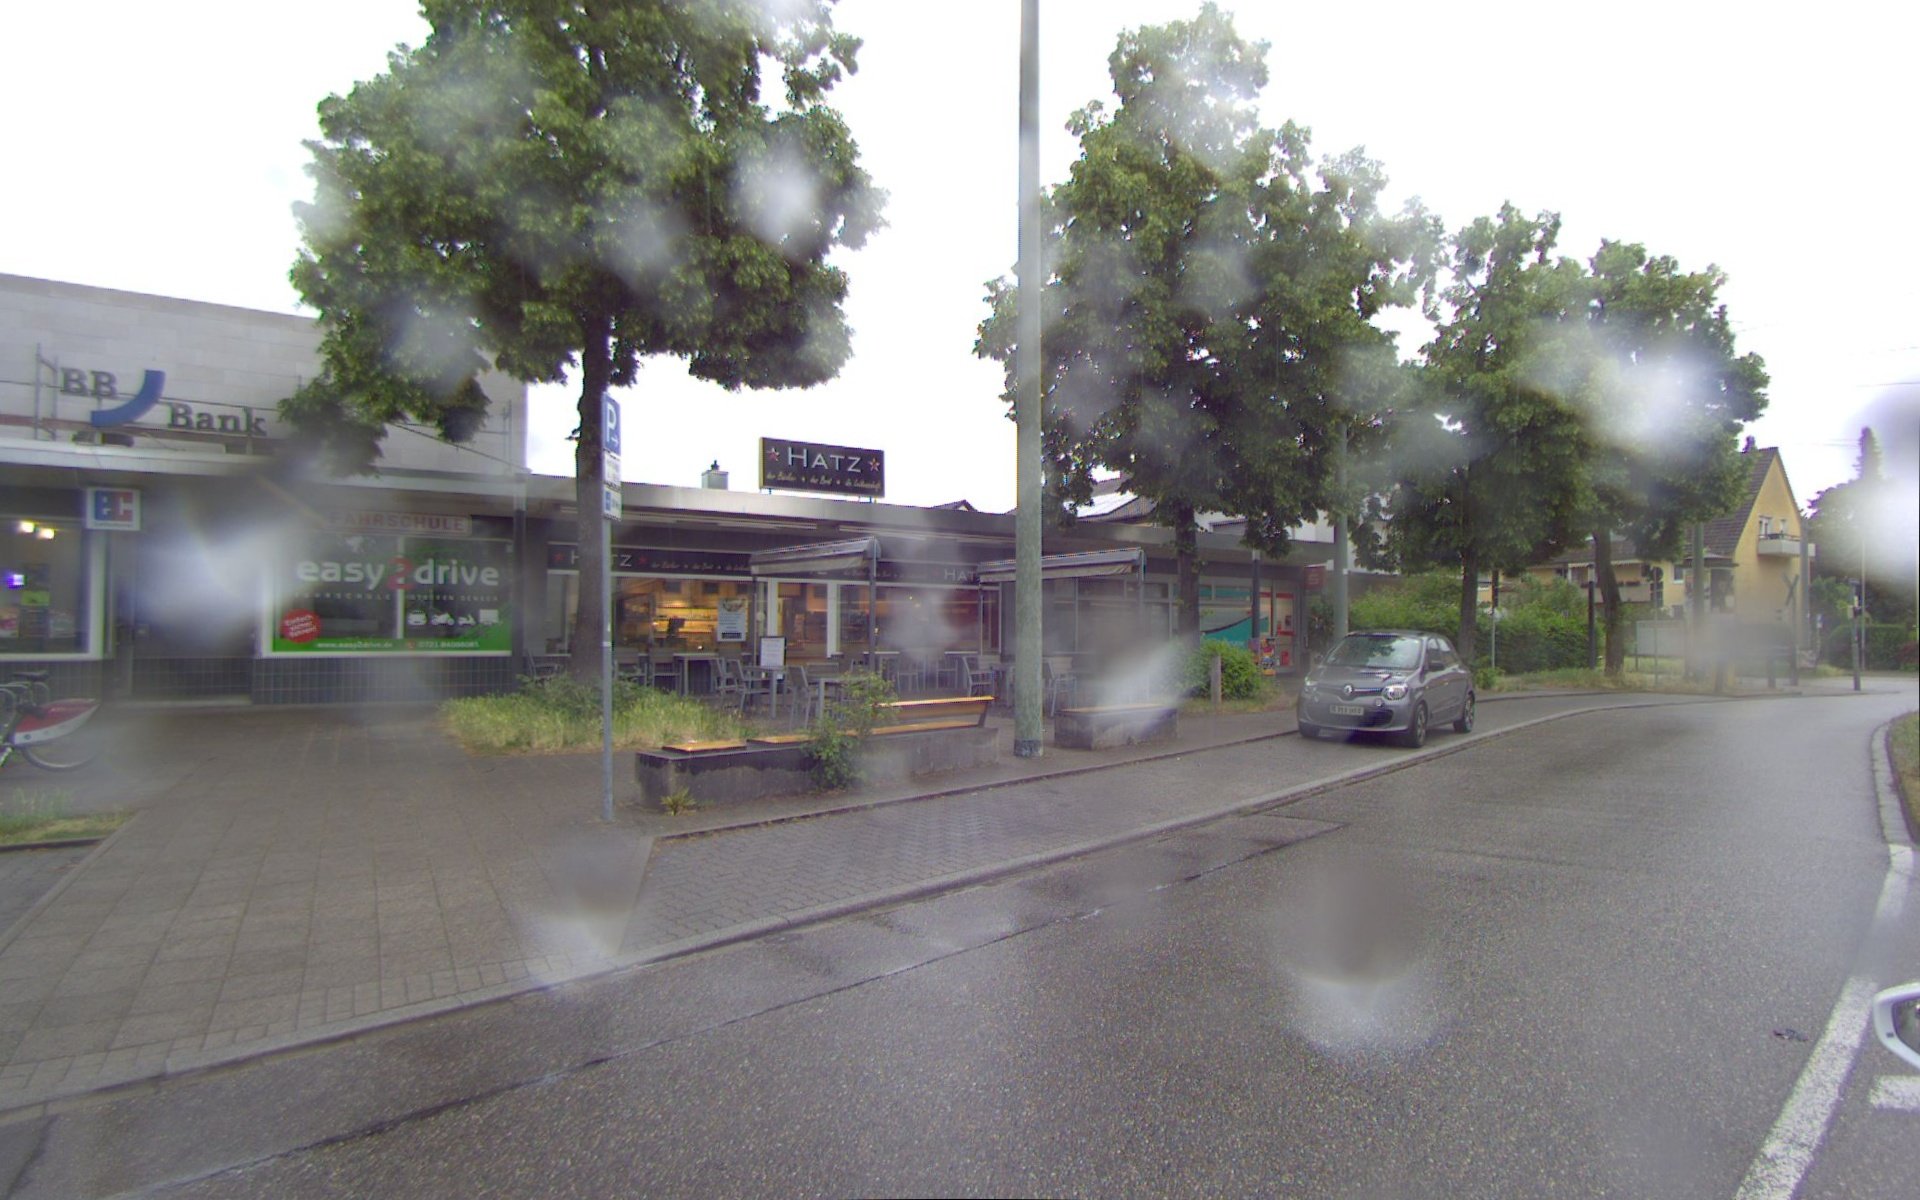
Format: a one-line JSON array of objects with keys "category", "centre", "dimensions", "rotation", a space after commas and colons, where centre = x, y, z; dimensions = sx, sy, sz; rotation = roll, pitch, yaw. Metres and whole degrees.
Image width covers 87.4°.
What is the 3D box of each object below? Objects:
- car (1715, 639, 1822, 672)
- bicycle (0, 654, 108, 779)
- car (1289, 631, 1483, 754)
[{"category": "car", "centre": [41.954, 2.862, 52.184], "dimensions": [1.815, 1.476, 3.960], "rotation": [2, 0, -35]}, {"category": "bicycle", "centre": [-9.012, 1.079, 9.245], "dimensions": [0.314, 1.122, 1.739], "rotation": [2, 0, 43]}, {"category": "car", "centre": [6.373, 1.251, 14.825], "dimensions": [1.598, 1.516, 3.649], "rotation": [2, 0, 40]}]
